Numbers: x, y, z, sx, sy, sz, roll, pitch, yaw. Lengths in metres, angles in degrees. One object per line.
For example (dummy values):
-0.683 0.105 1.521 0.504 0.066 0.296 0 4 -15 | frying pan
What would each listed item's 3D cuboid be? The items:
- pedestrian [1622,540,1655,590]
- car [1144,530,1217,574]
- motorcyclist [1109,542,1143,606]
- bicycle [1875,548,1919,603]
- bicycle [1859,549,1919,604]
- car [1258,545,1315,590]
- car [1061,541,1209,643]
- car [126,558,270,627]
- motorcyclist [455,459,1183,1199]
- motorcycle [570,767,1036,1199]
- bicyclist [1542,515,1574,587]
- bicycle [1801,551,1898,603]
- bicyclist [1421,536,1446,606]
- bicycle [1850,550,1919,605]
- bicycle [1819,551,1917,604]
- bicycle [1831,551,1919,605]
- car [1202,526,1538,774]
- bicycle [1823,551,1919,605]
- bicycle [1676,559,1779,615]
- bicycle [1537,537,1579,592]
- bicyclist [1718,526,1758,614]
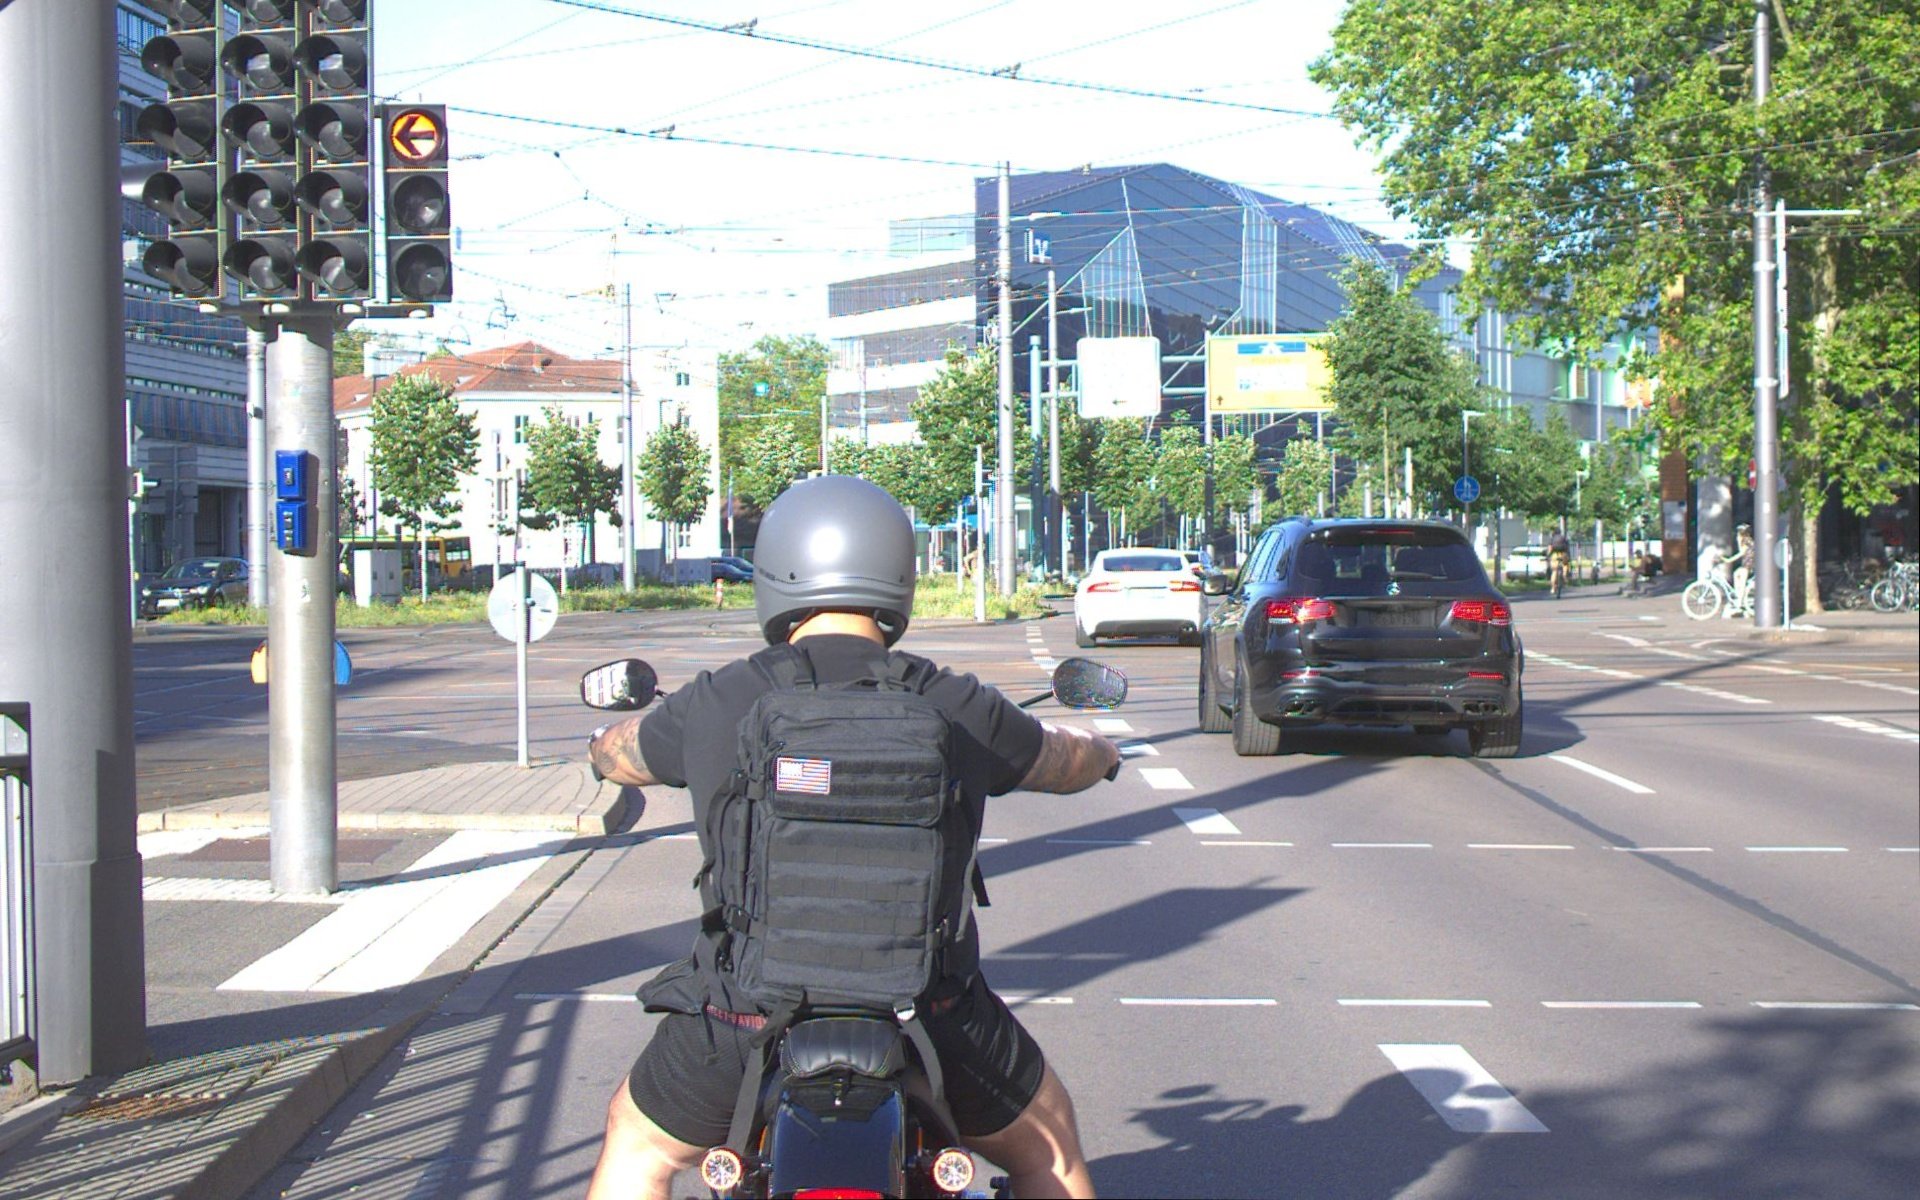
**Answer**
17.889 -0.912 90.620 0.819 1.309 0.637 1 0 9 | pedestrian
7.386 -1.603 114.764 1.804 1.425 4.451 0 1 12 | car
4.167 -0.654 86.363 0.796 1.574 0.529 1 0 5 | motorcyclist
18.485 -0.454 65.720 1.880 1.043 0.360 1 0 -1 | bicycle
18.383 -0.447 66.501 1.880 1.043 0.360 1 0 -1 | bicycle
12.751 -1.252 134.160 1.804 1.672 4.039 1 0 11 | car
2.528 -0.153 50.592 1.803 1.425 4.453 0 1 -2 | car
-17.482 -0.166 79.070 1.750 1.519 3.998 1 0 11 | car
-0.203 0.588 5.338 1.030 1.588 0.873 0 1 -1 | motorcyclist
-0.222 0.869 5.597 0.600 1.032 2.234 1 1 -1 | motorcycle
15.191 -1.236 87.308 0.697 1.802 0.728 1 0 4 | bicyclist
18.284 -0.473 70.641 1.880 1.043 0.360 1 1 -1 | bicycle
9.239 -0.567 67.081 0.380 1.368 0.345 1 0 -9 | bicyclist
18.415 -0.438 67.316 1.880 1.043 0.360 1 0 -1 | bicycle
18.352 -0.457 69.490 1.880 1.043 0.360 1 1 -1 | bicycle
18.355 -0.433 68.504 1.880 1.043 0.360 1 0 -1 | bicycle
2.802 0.284 24.423 1.803 1.590 4.453 0 1 -1 | car
18.321 -0.449 68.990 1.880 1.043 0.360 1 1 -1 | bicycle
14.560 -0.249 65.236 1.872 1.040 0.536 0 0 19 | bicycle
15.184 -0.895 87.358 0.726 1.362 2.917 1 0 3 | bicycle
14.747 -0.564 65.165 0.688 1.667 0.540 0 0 19 | bicyclist
